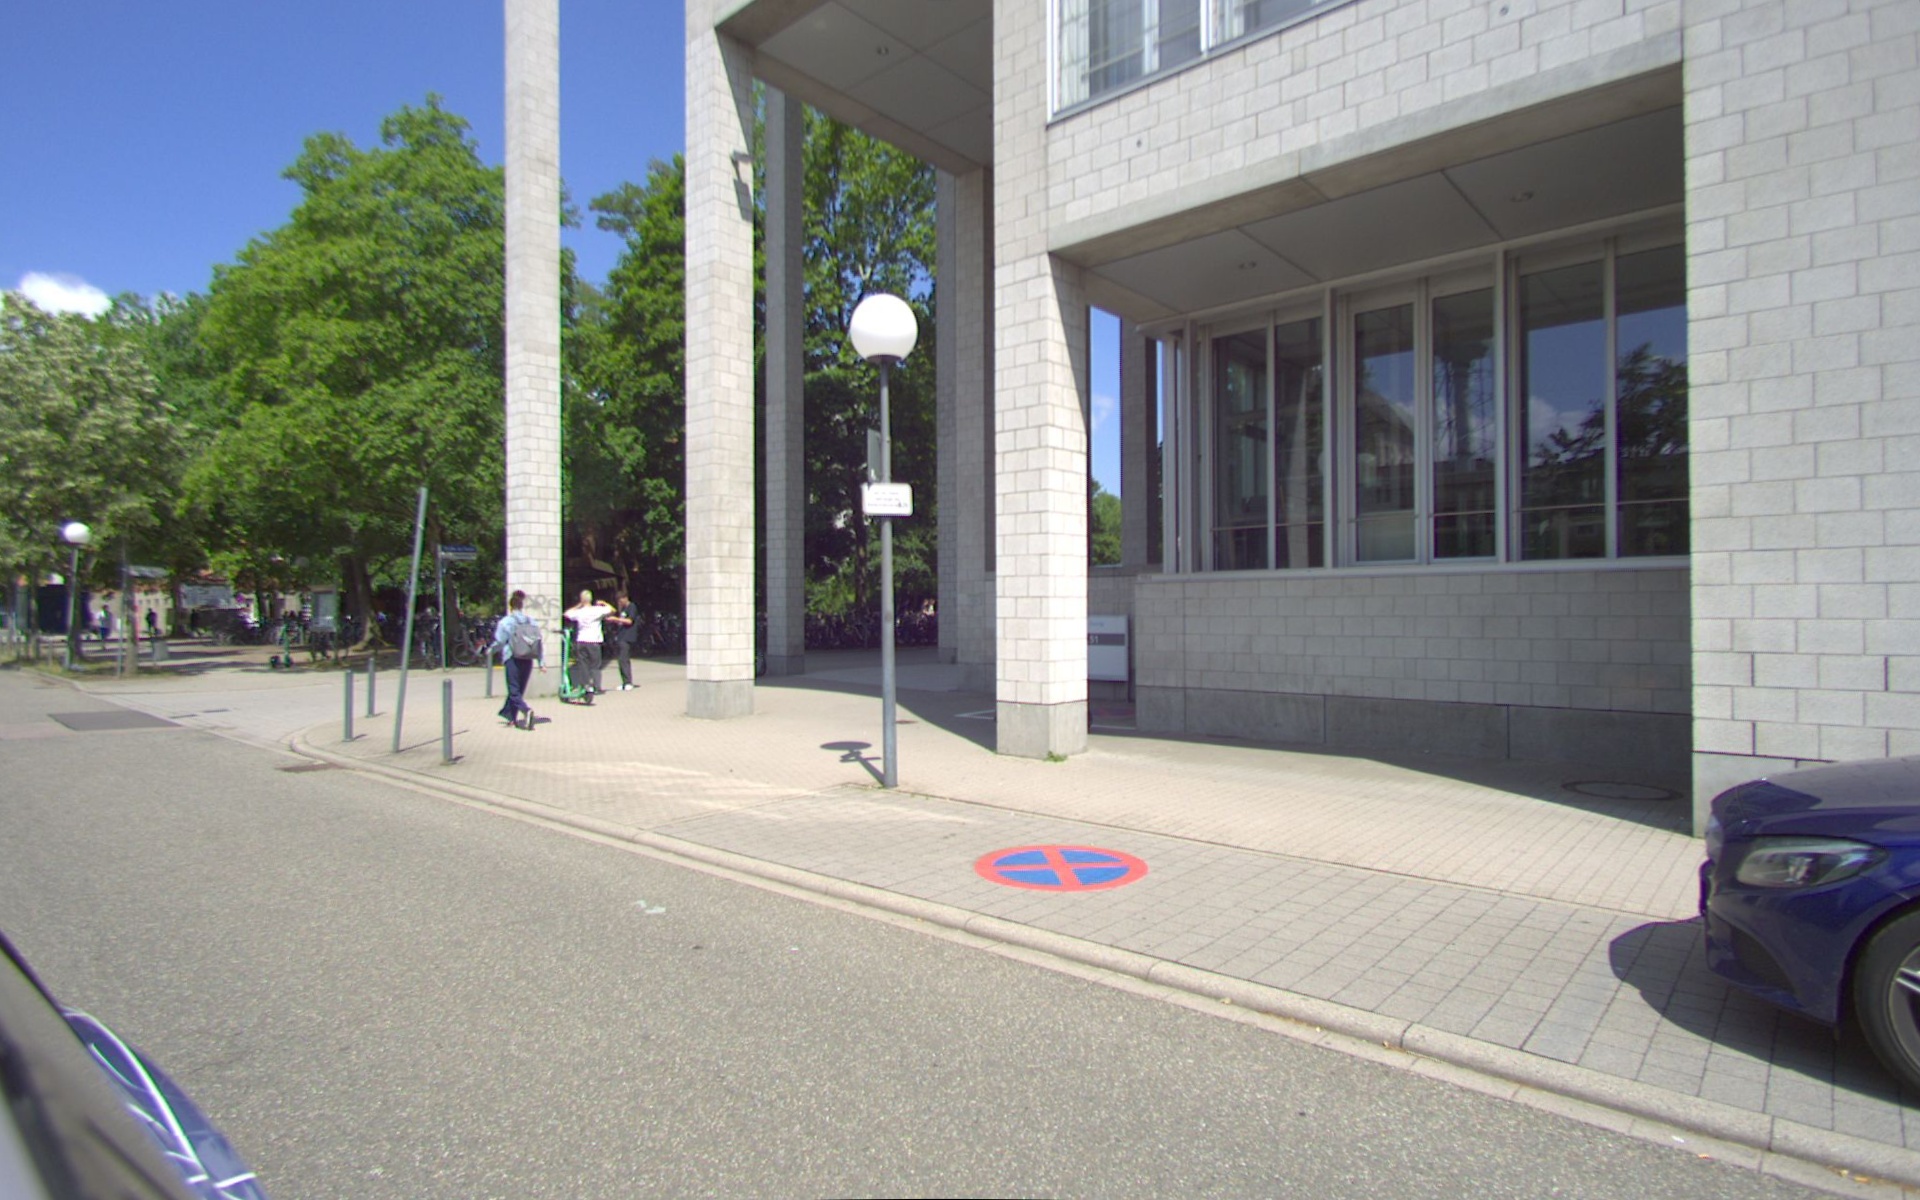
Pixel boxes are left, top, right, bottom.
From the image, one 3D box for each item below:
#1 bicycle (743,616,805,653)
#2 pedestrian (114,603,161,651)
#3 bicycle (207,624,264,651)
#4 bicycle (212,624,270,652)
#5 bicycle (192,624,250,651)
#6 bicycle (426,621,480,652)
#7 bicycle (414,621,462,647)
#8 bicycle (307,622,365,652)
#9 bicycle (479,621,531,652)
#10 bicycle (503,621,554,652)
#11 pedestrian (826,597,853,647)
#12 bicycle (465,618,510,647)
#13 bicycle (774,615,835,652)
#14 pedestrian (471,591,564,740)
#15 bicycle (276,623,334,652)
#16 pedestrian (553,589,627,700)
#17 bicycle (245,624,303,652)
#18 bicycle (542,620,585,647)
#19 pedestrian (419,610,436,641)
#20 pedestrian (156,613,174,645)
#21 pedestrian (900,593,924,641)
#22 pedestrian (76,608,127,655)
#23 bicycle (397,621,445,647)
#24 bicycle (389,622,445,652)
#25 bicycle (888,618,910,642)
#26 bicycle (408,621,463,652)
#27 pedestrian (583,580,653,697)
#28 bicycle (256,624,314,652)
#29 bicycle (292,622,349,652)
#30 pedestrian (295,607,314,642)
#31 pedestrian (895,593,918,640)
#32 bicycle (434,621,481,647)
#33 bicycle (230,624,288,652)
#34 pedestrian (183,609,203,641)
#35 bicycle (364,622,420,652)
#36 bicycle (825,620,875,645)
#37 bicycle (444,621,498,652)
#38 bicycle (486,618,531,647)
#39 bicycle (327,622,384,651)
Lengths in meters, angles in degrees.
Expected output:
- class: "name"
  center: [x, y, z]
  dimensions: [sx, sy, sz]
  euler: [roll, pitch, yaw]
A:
- class: "bicycle"
  center: [-6.856, 1.271, 37.375]
  dimensions: [2.149, 1.343, 0.621]
  euler: [-1, 0, 7]
- class: "pedestrian"
  center: [-35.563, 1.152, 43.768]
  dimensions: [1.369, 2.029, 1.382]
  euler: [-1, -1, 41]
- class: "bicycle"
  center: [-30.315, 1.569, 42.380]
  dimensions: [0.616, 1.066, 2.116]
  euler: [-1, 0, 12]
- class: "bicycle"
  center: [-29.781, 1.562, 41.956]
  dimensions: [0.616, 1.066, 2.116]
  euler: [-1, 0, 12]
- class: "bicycle"
  center: [-31.049, 1.578, 42.571]
  dimensions: [0.616, 1.066, 2.116]
  euler: [-1, 0, 12]
- class: "bicycle"
  center: [-19.780, 1.417, 39.504]
  dimensions: [0.745, 1.115, 2.116]
  euler: [-1, 0, 12]
- class: "bicycle"
  center: [-22.720, 1.478, 44.081]
  dimensions: [0.676, 1.066, 2.116]
  euler: [-1, 0, 12]
- class: "bicycle"
  center: [-25.181, 1.481, 40.894]
  dimensions: [0.745, 1.166, 2.116]
  euler: [-1, 0, 12]
- class: "bicycle"
  center: [-17.488, 1.393, 38.941]
  dimensions: [0.745, 1.115, 2.116]
  euler: [-1, 0, 12]
- class: "bicycle"
  center: [-16.469, 1.381, 38.665]
  dimensions: [0.745, 1.115, 2.116]
  euler: [-1, 0, 12]
- class: "pedestrian"
  center: [-5.996, 1.101, 50.452]
  dimensions: [0.996, 2.438, 0.998]
  euler: [-1, 0, 16]
- class: "bicycle"
  center: [-20.553, 1.403, 44.078]
  dimensions: [0.676, 1.201, 2.116]
  euler: [-1, 0, 12]
- class: "bicycle"
  center: [-5.844, 1.262, 38.074]
  dimensions: [2.149, 1.343, 0.621]
  euler: [-1, 0, 7]
- class: "pedestrian"
  center: [-5.552, 0.770, 12.673]
  dimensions: [0.749, 1.738, 1.237]
  euler: [-3, 2, -36]
- class: "bicycle"
  center: [-26.645, 1.501, 41.206]
  dimensions: [0.676, 1.115, 2.116]
  euler: [-1, 0, 12]
- class: "pedestrian"
  center: [-6.253, 0.730, 17.103]
  dimensions: [1.080, 1.794, 0.745]
  euler: [-1, -1, 41]
- class: "bicycle"
  center: [-28.348, 1.546, 41.845]
  dimensions: [0.676, 1.066, 2.116]
  euler: [-1, 0, 12]
- class: "bicycle"
  center: [-16.957, 1.429, 43.357]
  dimensions: [0.676, 1.066, 2.116]
  euler: [-1, 0, 12]
- class: "pedestrian"
  center: [-26.791, 1.280, 50.942]
  dimensions: [0.501, 1.543, 0.583]
  euler: [-1, 0, 21]
- class: "pedestrian"
  center: [-41.969, 1.515, 53.428]
  dimensions: [0.669, 1.683, 0.816]
  euler: [0, -1, -43]
- class: "pedestrian"
  center: [-2.486, 0.869, 52.387]
  dimensions: [0.996, 2.438, 0.998]
  euler: [-1, 0, 16]
- class: "pedestrian"
  center: [-34.654, 1.261, 40.846]
  dimensions: [1.369, 1.838, 1.382]
  euler: [-1, -1, 41]
- class: "bicycle"
  center: [-23.538, 1.487, 44.242]
  dimensions: [0.676, 1.066, 2.116]
  euler: [-1, 0, 12]
- class: "bicycle"
  center: [-21.359, 1.458, 39.866]
  dimensions: [0.745, 1.115, 2.116]
  euler: [-1, 0, 12]
- class: "bicycle"
  center: [-2.864, 1.405, 47.227]
  dimensions: [0.612, 1.066, 2.181]
  euler: [0, 0, -14]
- class: "bicycle"
  center: [-20.540, 1.418, 39.661]
  dimensions: [0.745, 1.115, 2.116]
  euler: [-1, 0, 12]
- class: "pedestrian"
  center: [-6.117, 0.670, 18.095]
  dimensions: [1.080, 2.029, 0.745]
  euler: [-1, -1, 41]
- class: "bicycle"
  center: [-27.612, 1.536, 41.432]
  dimensions: [0.676, 1.066, 2.116]
  euler: [-1, 0, 12]
- class: "bicycle"
  center: [-25.915, 1.492, 41.060]
  dimensions: [0.676, 1.115, 2.116]
  euler: [-1, 0, 12]
- class: "pedestrian"
  center: [-32.058, 1.185, 49.493]
  dimensions: [0.745, 1.683, 0.825]
  euler: [0, 0, -34]
- class: "pedestrian"
  center: [-2.856, 0.879, 54.081]
  dimensions: [0.996, 2.438, 0.998]
  euler: [-1, 0, 16]
- class: "bicycle"
  center: [-21.824, 1.468, 43.997]
  dimensions: [0.676, 1.066, 2.116]
  euler: [-1, 0, 12]
- class: "bicycle"
  center: [-29.071, 1.554, 41.992]
  dimensions: [0.676, 1.066, 2.116]
  euler: [-1, 0, 12]
- class: "pedestrian"
  center: [-46.215, 1.506, 60.960]
  dimensions: [0.668, 1.907, 0.816]
  euler: [-1, 0, -9]
- class: "bicycle"
  center: [-22.510, 1.452, 40.170]
  dimensions: [0.745, 1.115, 2.116]
  euler: [-1, 0, 12]
- class: "bicycle"
  center: [-4.851, 1.429, 44.452]
  dimensions: [2.161, 1.066, 0.618]
  euler: [-1, 0, 23]
- class: "bicycle"
  center: [-18.987, 1.411, 39.346]
  dimensions: [0.745, 1.115, 2.116]
  euler: [-1, 0, 12]
- class: "bicycle"
  center: [-19.502, 1.391, 43.801]
  dimensions: [0.676, 1.201, 2.116]
  euler: [-1, 0, 12]
- class: "bicycle"
  center: [-24.254, 1.446, 40.666]
  dimensions: [0.745, 1.115, 2.116]
  euler: [-1, 0, 12]
